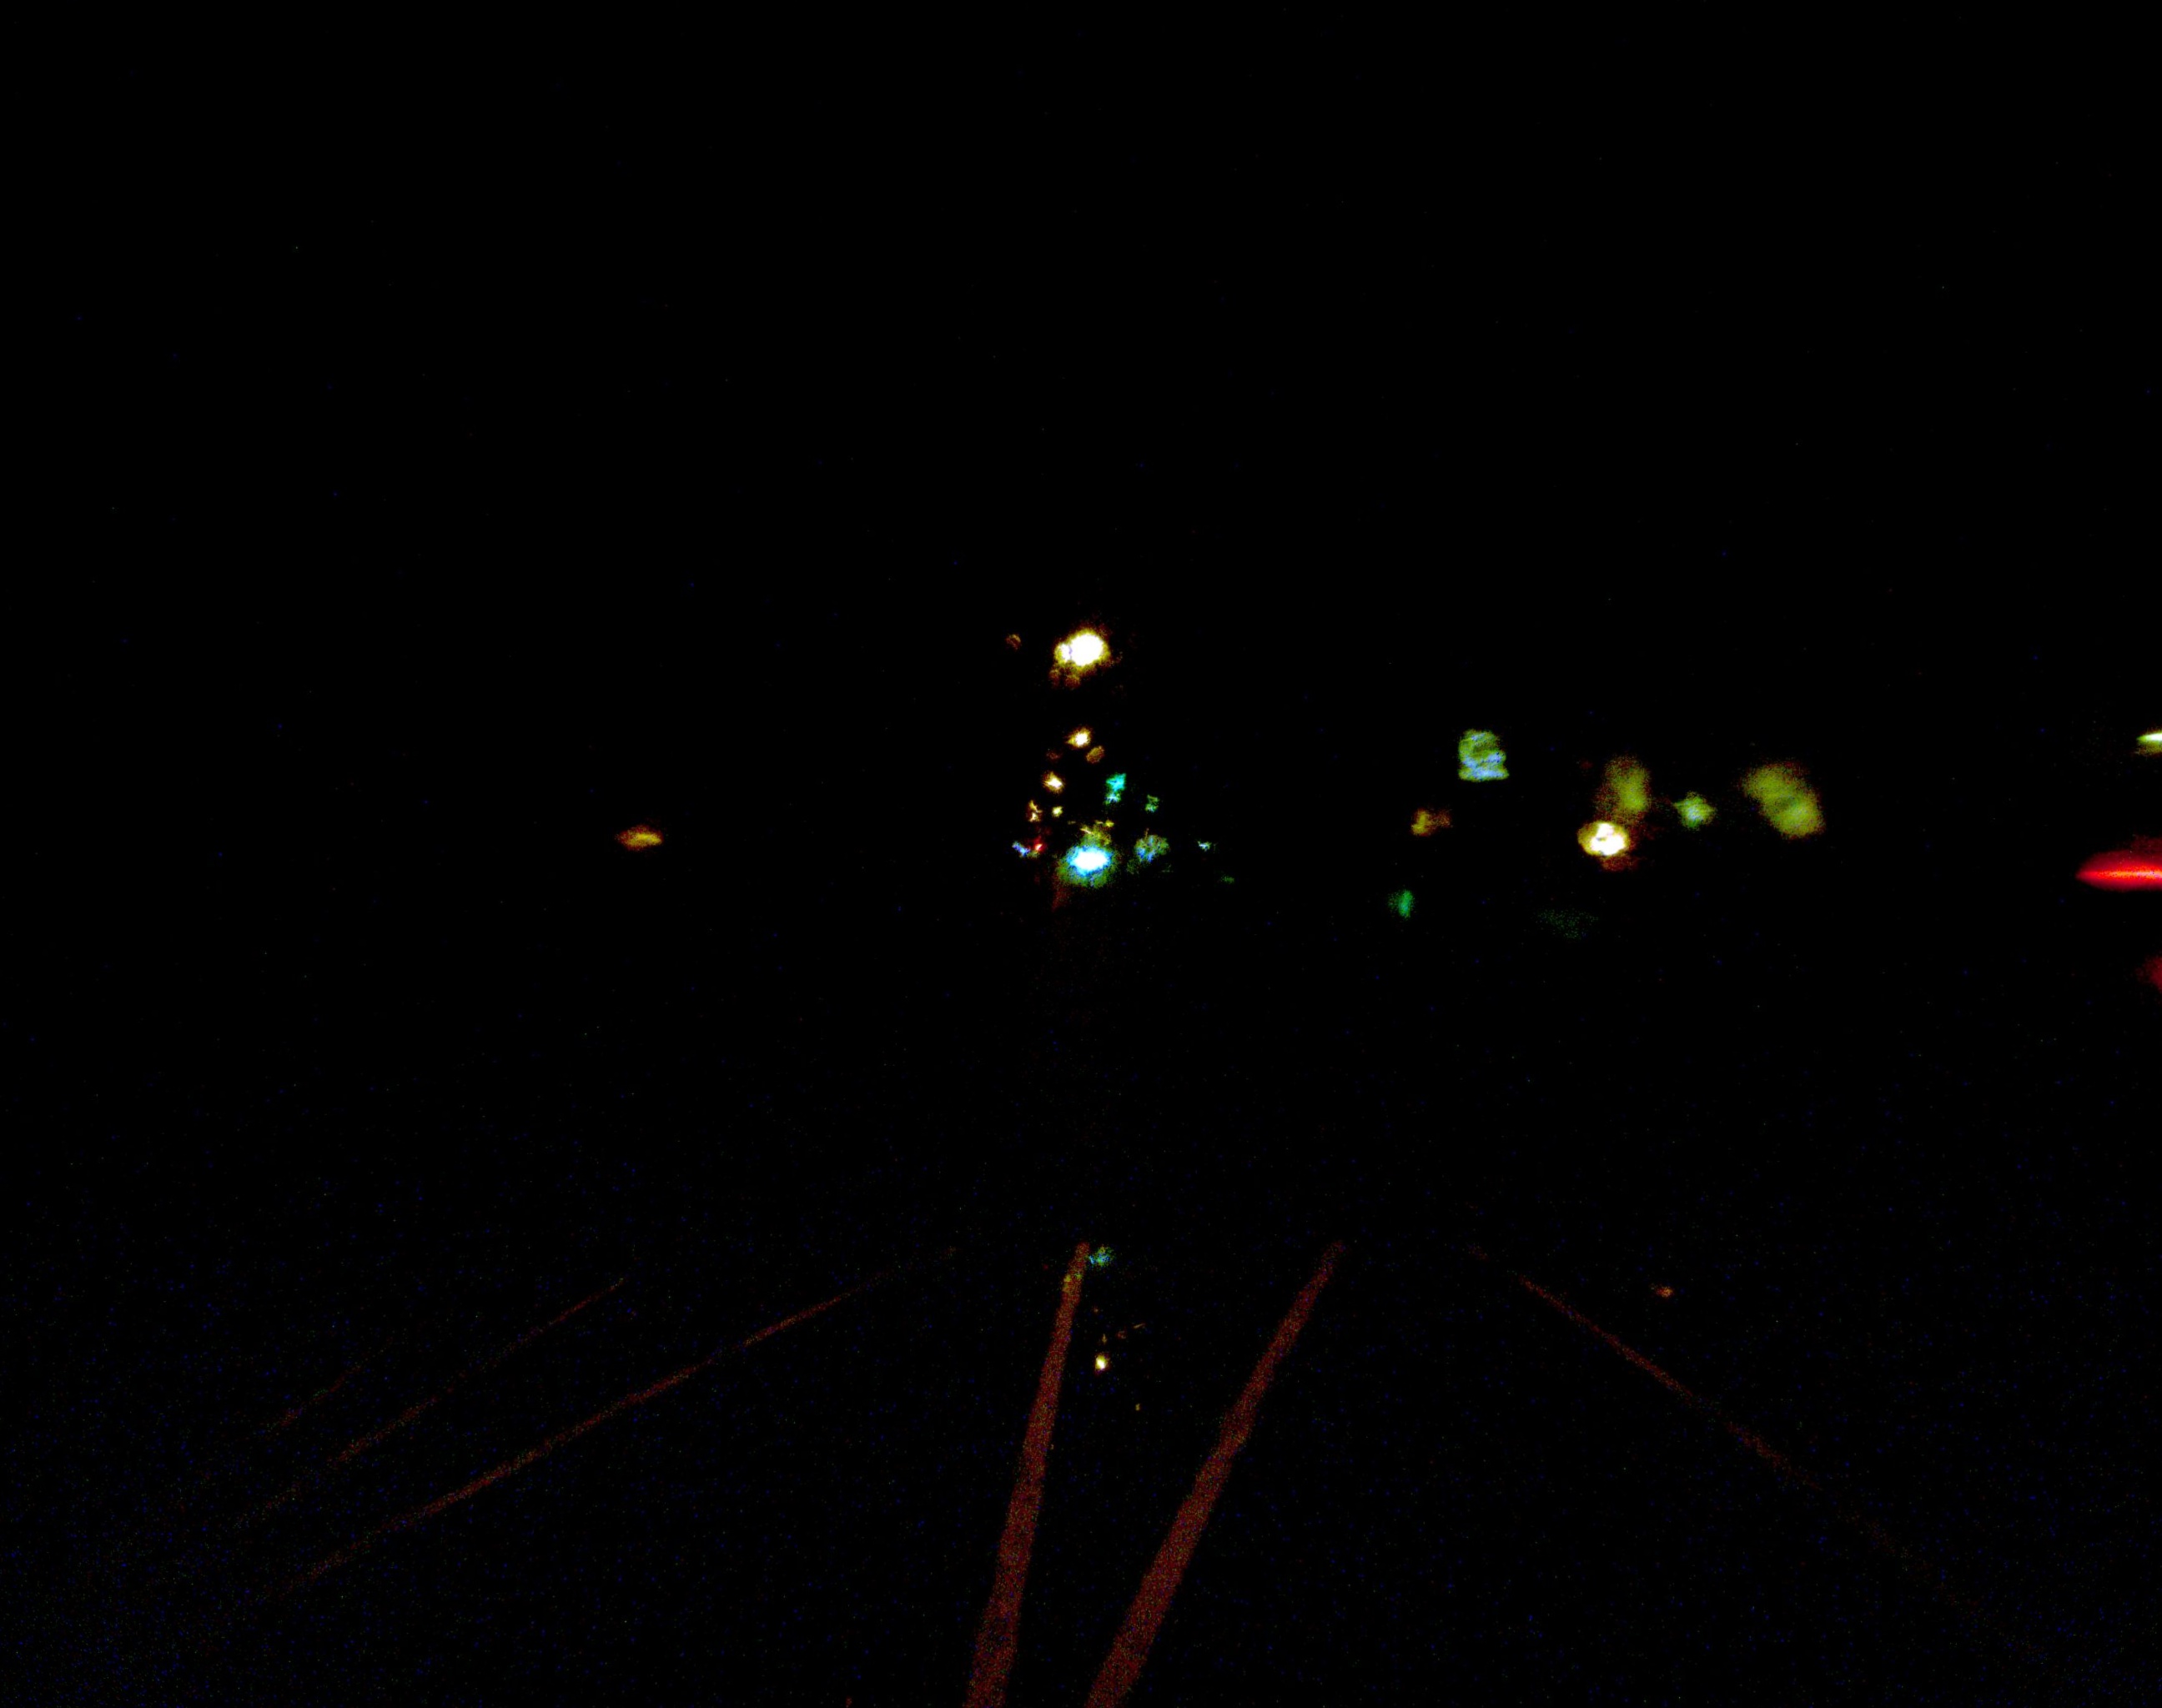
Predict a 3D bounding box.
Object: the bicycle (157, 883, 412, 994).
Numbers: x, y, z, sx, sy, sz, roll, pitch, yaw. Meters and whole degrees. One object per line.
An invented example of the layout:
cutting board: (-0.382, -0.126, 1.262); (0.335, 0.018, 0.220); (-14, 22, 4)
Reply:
bicycle: (-8.360, 0.883, 8.029); (1.978, 1.048, 0.509); (2, 1, -6)

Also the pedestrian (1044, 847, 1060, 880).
pedestrian: (-1.555, 0.520, 41.120); (0.824, 1.760, 1.177); (0, 1, 0)

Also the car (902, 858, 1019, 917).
car: (-3.487, 0.922, 21.925); (3.052, 1.543, 1.502); (-1, 0, -21)

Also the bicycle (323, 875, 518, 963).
bicycle: (-8.629, 0.850, 9.977); (1.978, 1.048, 0.509); (2, 1, -6)

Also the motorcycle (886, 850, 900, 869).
motorcycle: (-10.685, 0.307, 43.135); (0.524, 1.061, 2.056); (-1, 1, -7)

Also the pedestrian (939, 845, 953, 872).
pedestrian: (-9.359, 0.333, 52.587); (0.747, 1.829, 0.843); (2, -2, -1)

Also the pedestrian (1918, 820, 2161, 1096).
pedestrian: (6.833, 0.671, 5.295); (1.135, 1.772, 0.788); (-1, 1, 0)

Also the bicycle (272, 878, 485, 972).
bicycle: (-8.580, 0.862, 9.333); (1.978, 1.048, 0.509); (2, 1, -6)

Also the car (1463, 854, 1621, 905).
car: (14.499, 0.781, 24.037); (3.943, 1.562, 1.716); (0, 0, 0)

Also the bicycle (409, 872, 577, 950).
bicycle: (-8.712, 0.841, 11.305); (1.978, 1.048, 0.509); (2, 1, -6)

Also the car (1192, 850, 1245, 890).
car: (5.458, 0.604, 30.478); (1.550, 1.434, 3.563); (-2, 0, 2)

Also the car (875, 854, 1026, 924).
car: (-3.394, 0.855, 19.713); (3.569, 1.601, 1.710); (-1, 0, -21)

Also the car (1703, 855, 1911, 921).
car: (20.181, 0.907, 21.252); (3.997, 1.671, 1.886); (-1, 0, 0)

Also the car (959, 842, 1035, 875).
car: (-5.984, 0.311, 54.523); (4.951, 2.327, 2.226); (0, 1, -34)

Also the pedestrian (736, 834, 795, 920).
pedestrian: (-7.080, 0.501, 17.082); (0.841, 1.825, 0.947); (4, 2, -3)

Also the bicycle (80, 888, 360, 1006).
bicycle: (-8.399, 0.903, 7.470); (1.978, 1.048, 0.509); (2, 1, -6)

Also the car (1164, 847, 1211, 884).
car: (5.509, 0.551, 39.848); (1.871, 1.835, 4.827); (0, 0, 1)

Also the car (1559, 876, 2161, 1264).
car: (4.980, 0.883, 4.492); (1.658, 1.351, 4.222); (-1, 0, 0)

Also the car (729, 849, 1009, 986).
car: (-3.233, 0.837, 11.718); (3.809, 1.718, 1.737); (-2, 1, -30)

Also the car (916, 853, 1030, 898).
car: (-3.892, 0.784, 27.373); (3.717, 1.514, 1.653); (1, 1, -25)

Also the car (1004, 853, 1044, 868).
car: (-6.107, 0.672, 81.405); (4.123, 1.483, 1.590); (2, 0, -38)

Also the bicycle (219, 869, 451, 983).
bicycle: (-8.470, 0.811, 8.677); (1.978, 1.184, 0.509); (2, 1, -6)

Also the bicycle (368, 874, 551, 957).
bicycle: (-8.593, 0.844, 10.554); (1.978, 1.048, 0.509); (2, 1, -6)

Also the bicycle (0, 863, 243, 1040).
bicycle: (-8.582, 0.784, 6.561); (1.975, 1.327, 0.783); (2, 1, 7)

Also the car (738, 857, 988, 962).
car: (-3.970, 0.902, 13.963); (4.068, 1.601, 1.840); (-1, 0, -29)

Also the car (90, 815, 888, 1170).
car: (-3.874, 0.746, 5.860); (4.256, 1.848, 1.712); (1, 1, -35)

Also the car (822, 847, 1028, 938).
car: (-3.456, 0.766, 16.946); (4.112, 1.754, 1.855); (-1, 0, -27)

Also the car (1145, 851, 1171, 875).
car: (5.607, 0.638, 55.533); (1.816, 1.660, 4.413); (0, 0, 6)

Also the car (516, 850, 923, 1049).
car: (-3.917, 0.864, 8.570); (3.781, 1.718, 1.712); (-2, 0, -33)
